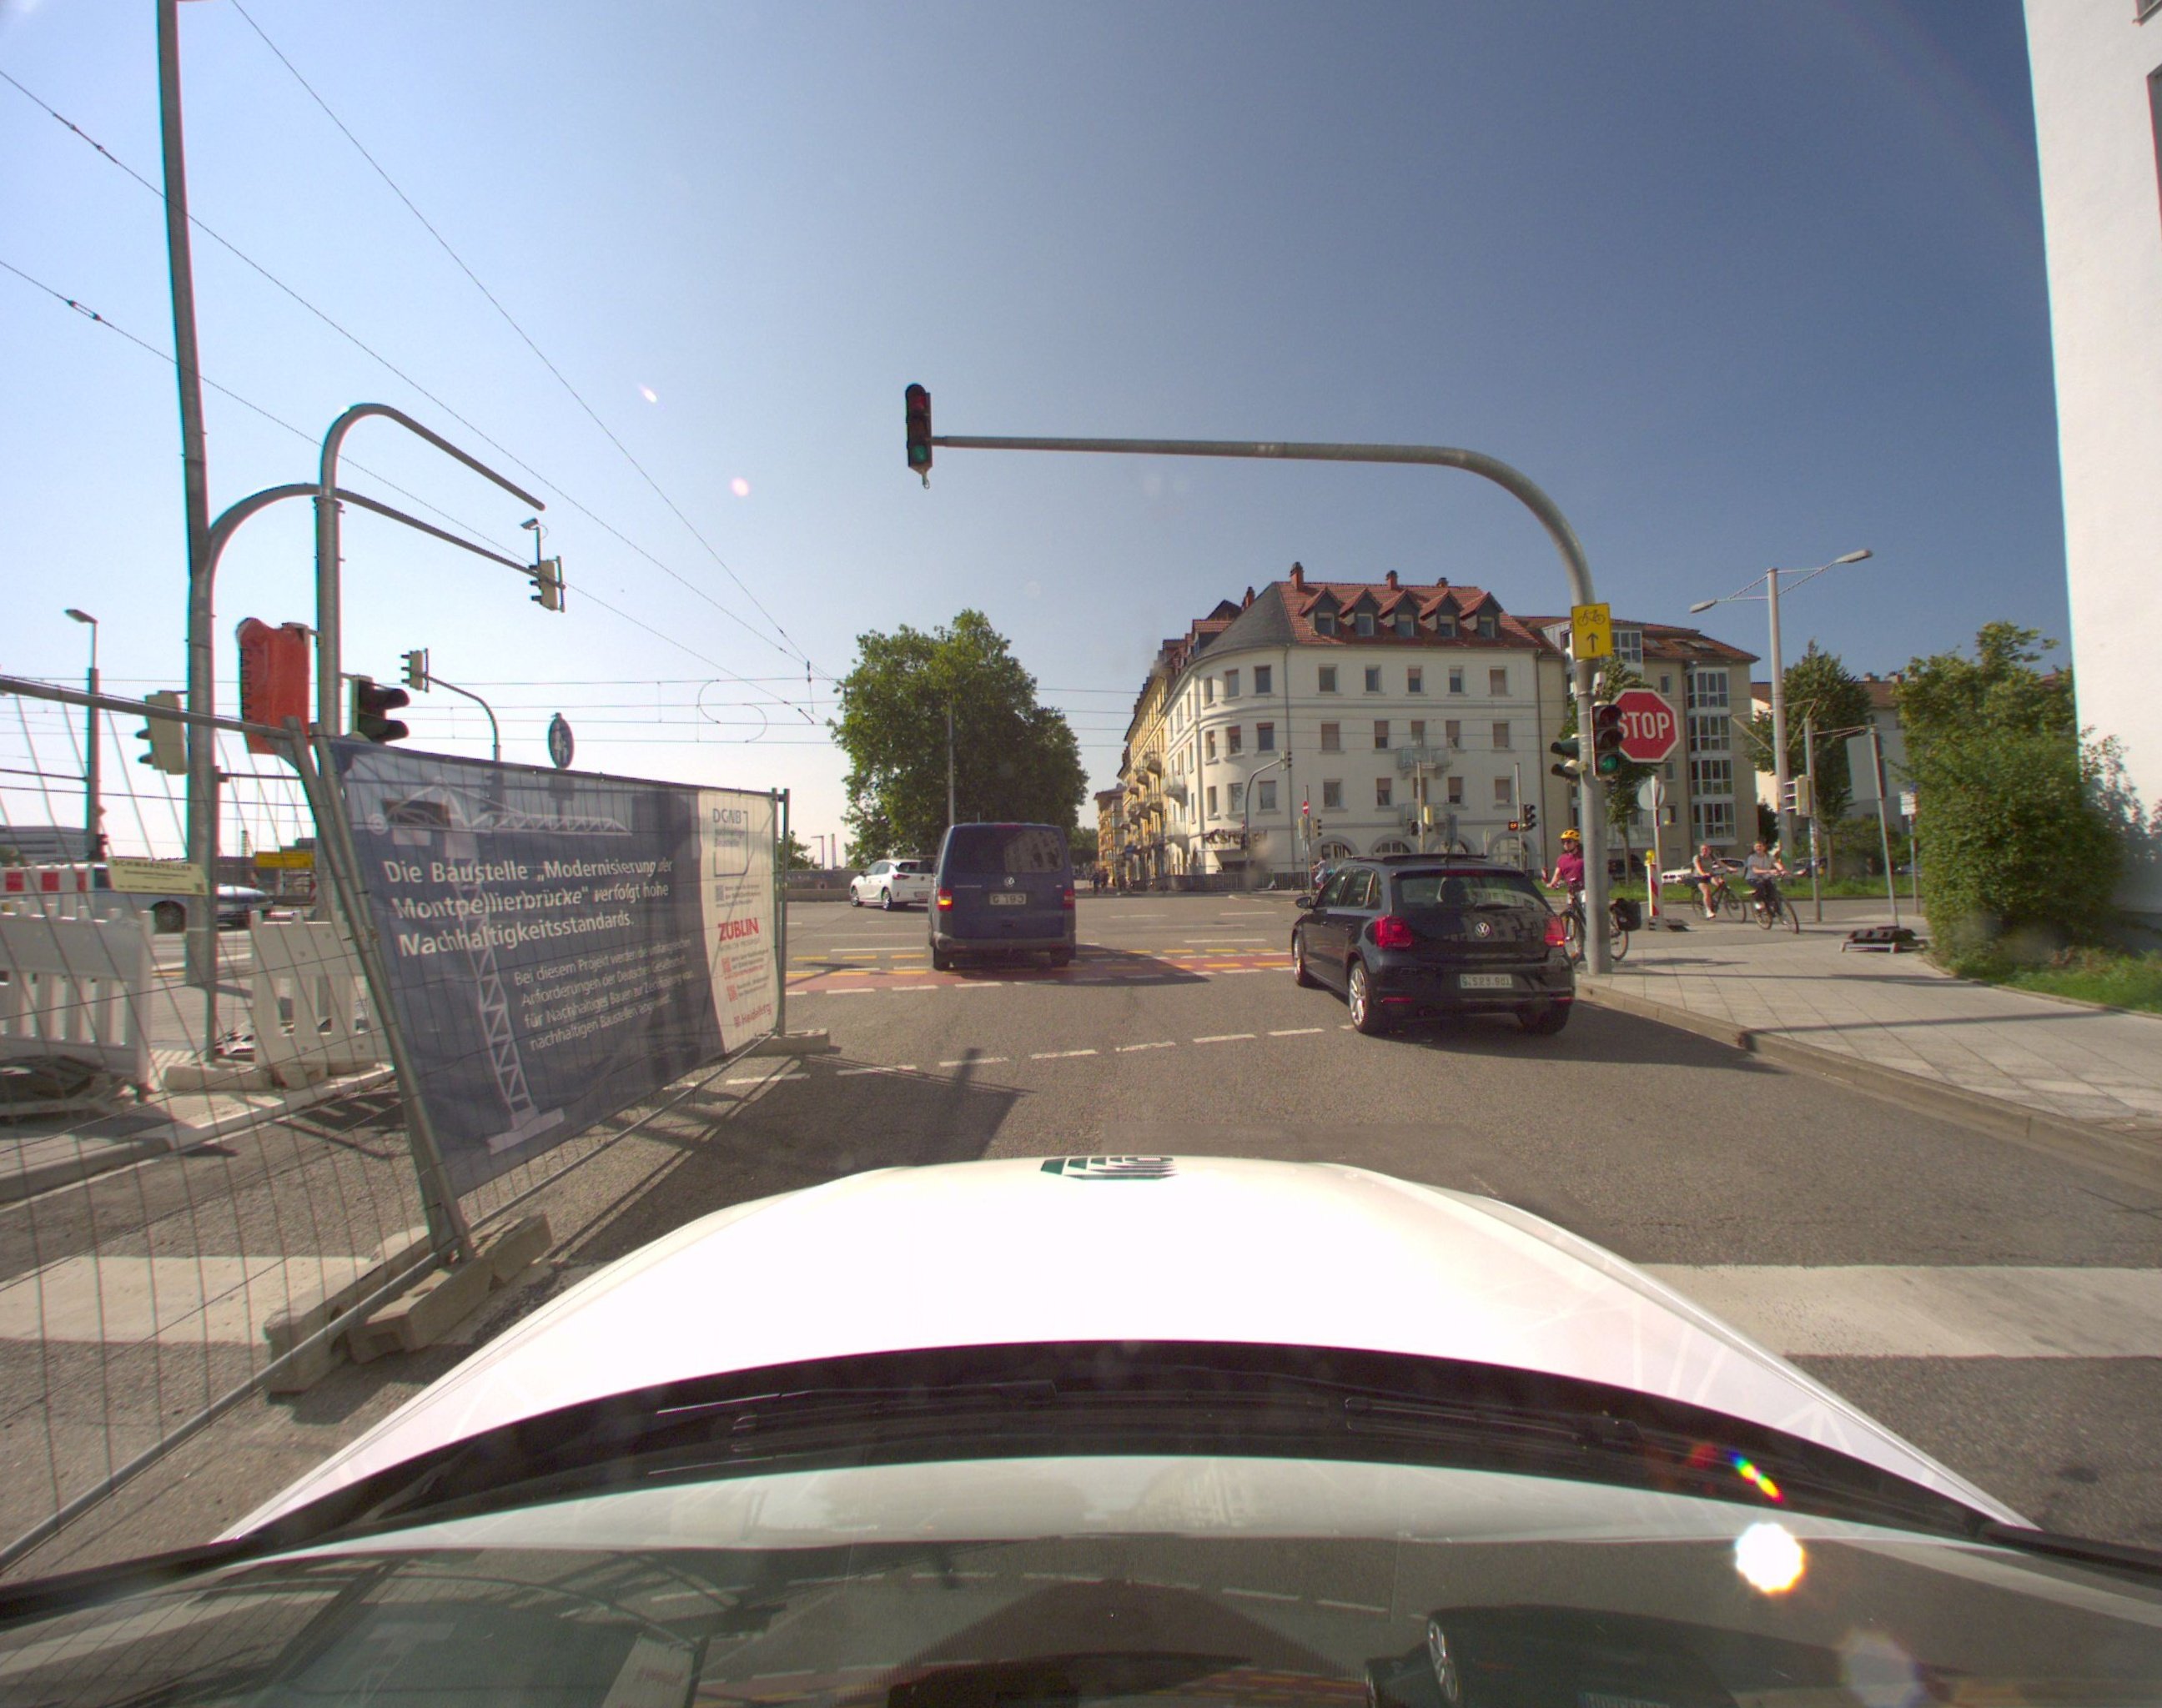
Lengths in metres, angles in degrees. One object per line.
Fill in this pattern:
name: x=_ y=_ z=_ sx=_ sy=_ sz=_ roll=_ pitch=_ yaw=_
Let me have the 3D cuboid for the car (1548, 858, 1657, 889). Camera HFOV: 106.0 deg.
car: x=23.596 y=0.900 z=36.908 sx=3.985 sy=1.354 sz=1.763 roll=0 pitch=-2 yaw=-8

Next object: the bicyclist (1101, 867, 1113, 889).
bicyclist: x=1.873 y=1.753 z=59.267 sx=0.834 sy=1.538 sz=1.024 roll=-1 pitch=-2 yaw=1

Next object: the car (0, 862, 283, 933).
car: x=-20.864 y=0.912 z=17.911 sx=4.625 sy=1.437 sz=1.638 roll=0 pitch=0 yaw=-8

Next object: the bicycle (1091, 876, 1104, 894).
bicycle: x=1.167 y=2.117 z=55.718 sx=0.834 sy=1.137 sz=2.859 roll=-1 pitch=-2 yaw=2

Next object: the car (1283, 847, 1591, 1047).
car: x=3.123 y=0.707 z=7.954 sx=1.582 sy=1.493 sz=3.665 roll=-1 pitch=0 yaw=3

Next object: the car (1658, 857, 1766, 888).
car: x=29.442 y=0.872 z=38.044 sx=3.986 sy=1.354 sz=1.762 roll=0 pitch=-2 yaw=-9

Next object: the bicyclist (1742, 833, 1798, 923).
bicyclist: x=12.578 y=0.434 z=14.898 sx=0.616 sy=1.579 sz=0.923 roll=-2 pitch=-2 yaw=32

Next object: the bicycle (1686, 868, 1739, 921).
bicycle: x=13.999 y=0.887 z=18.087 sx=0.611 sy=1.099 sz=1.797 roll=-2 pitch=-2 yaw=28

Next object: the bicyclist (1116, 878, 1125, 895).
bicyclist: x=3.712 y=3.103 z=77.193 sx=0.706 sy=1.550 sz=0.784 roll=-3 pitch=-1 yaw=-1

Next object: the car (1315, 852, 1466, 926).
car: x=7.245 y=0.728 z=18.936 sx=3.674 sy=1.556 sz=1.677 roll=0 pitch=1 yaw=-40

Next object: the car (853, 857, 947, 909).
car: x=-5.364 y=0.862 z=23.858 sx=1.728 sy=1.405 sz=3.378 roll=1 pitch=-3 yaw=-31

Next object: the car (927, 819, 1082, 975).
car: x=-1.314 y=0.533 z=12.125 sx=1.817 sy=1.905 sz=4.037 roll=0 pitch=0 yaw=-12

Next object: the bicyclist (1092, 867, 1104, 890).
bicyclist: x=1.154 y=1.676 z=55.612 sx=0.834 sy=1.538 sz=1.024 roll=-1 pitch=-2 yaw=1

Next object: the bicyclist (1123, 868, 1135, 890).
bicyclist: x=3.369 y=1.749 z=57.058 sx=0.834 sy=1.508 sz=0.953 roll=-1 pitch=-2 yaw=1

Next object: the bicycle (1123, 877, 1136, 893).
bicycle: x=3.373 y=2.168 z=57.141 sx=0.834 sy=1.137 sz=2.859 roll=-1 pitch=-2 yaw=2

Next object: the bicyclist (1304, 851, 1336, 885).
bicyclist: x=9.950 y=0.589 z=33.917 sx=0.872 sy=1.415 sz=0.906 roll=1 pitch=-3 yaw=-41

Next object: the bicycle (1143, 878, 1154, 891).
bicycle: x=5.394 y=2.449 z=65.515 sx=0.678 sy=1.075 sz=2.292 roll=-1 pitch=-1 yaw=0

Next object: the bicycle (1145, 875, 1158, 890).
bicycle: x=5.323 y=2.159 z=61.679 sx=0.834 sy=1.137 sz=2.859 roll=-1 pitch=-2 yaw=2

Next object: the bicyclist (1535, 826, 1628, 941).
bicyclist: x=6.668 y=0.381 z=10.858 sx=0.919 sy=1.478 sz=0.593 roll=0 pitch=-2 yaw=-23

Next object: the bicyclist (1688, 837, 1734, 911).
bicyclist: x=14.025 y=0.450 z=18.151 sx=0.616 sy=1.590 sz=0.923 roll=-2 pitch=-2 yaw=28

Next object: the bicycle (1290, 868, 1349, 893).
bicycle: x=9.919 y=1.105 z=33.939 sx=0.872 sy=0.990 sz=2.219 roll=1 pitch=-3 yaw=-41

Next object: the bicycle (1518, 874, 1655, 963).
bicycle: x=6.766 y=0.828 z=10.885 sx=1.816 sy=1.099 sz=0.600 roll=0 pitch=-2 yaw=-23

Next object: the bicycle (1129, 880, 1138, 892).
bicycle: x=4.940 y=3.011 z=76.411 sx=0.678 sy=1.075 sz=2.292 roll=-1 pitch=-1 yaw=0

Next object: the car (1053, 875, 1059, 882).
car: x=-6.285 y=6.227 z=206.686 sx=1.621 sy=1.623 sz=3.693 roll=0 pitch=0 yaw=-1

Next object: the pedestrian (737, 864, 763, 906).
pedestrian: x=-14.647 y=1.359 z=36.008 sx=0.867 sy=1.795 sz=0.813 roll=-1 pitch=0 yaw=-36

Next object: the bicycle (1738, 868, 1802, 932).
bicycle: x=12.669 y=0.818 z=15.016 sx=0.620 sy=1.099 sz=1.797 roll=-2 pitch=-2 yaw=32

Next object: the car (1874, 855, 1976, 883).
car: x=42.784 y=0.749 z=41.304 sx=3.991 sy=1.354 sz=1.760 roll=0 pitch=-2 yaw=-13

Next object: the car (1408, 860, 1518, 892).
car: x=16.566 y=0.979 z=35.436 sx=3.982 sy=1.321 sz=1.764 roll=0 pitch=-2 yaw=-7

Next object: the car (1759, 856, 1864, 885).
car: x=35.635 y=0.831 z=39.751 sx=3.989 sy=1.354 sz=1.761 roll=0 pitch=-2 yaw=-11

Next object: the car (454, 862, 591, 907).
car: x=-20.194 y=1.114 z=29.604 sx=3.682 sy=1.532 sz=1.718 roll=-1 pitch=-2 yaw=-7

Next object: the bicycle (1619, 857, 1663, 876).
bicycle: x=31.475 y=0.693 z=45.786 sx=1.893 sy=1.020 sz=0.824 roll=-1 pitch=0 yaw=11

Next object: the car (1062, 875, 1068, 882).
car: x=-4.021 y=6.162 z=204.238 sx=1.621 sy=1.623 sz=3.693 roll=0 pitch=0 yaw=-1

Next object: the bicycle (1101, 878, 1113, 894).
bicycle: x=1.889 y=2.339 z=59.310 sx=0.834 sy=1.137 sz=2.859 roll=-1 pitch=-2 yaw=2

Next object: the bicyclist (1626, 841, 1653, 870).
bicyclist: x=31.391 y=0.080 z=45.813 sx=0.999 sy=1.654 sz=0.811 roll=0 pitch=-1 yaw=11

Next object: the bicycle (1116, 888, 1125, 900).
bicycle: x=3.743 y=3.793 z=77.185 sx=0.706 sy=0.991 sz=1.818 roll=-3 pitch=-1 yaw=-1

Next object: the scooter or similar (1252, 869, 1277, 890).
scooter or similar: x=9.755 y=1.354 z=43.310 sx=1.292 sy=1.118 sz=0.340 roll=-1 pitch=-1 yaw=11
